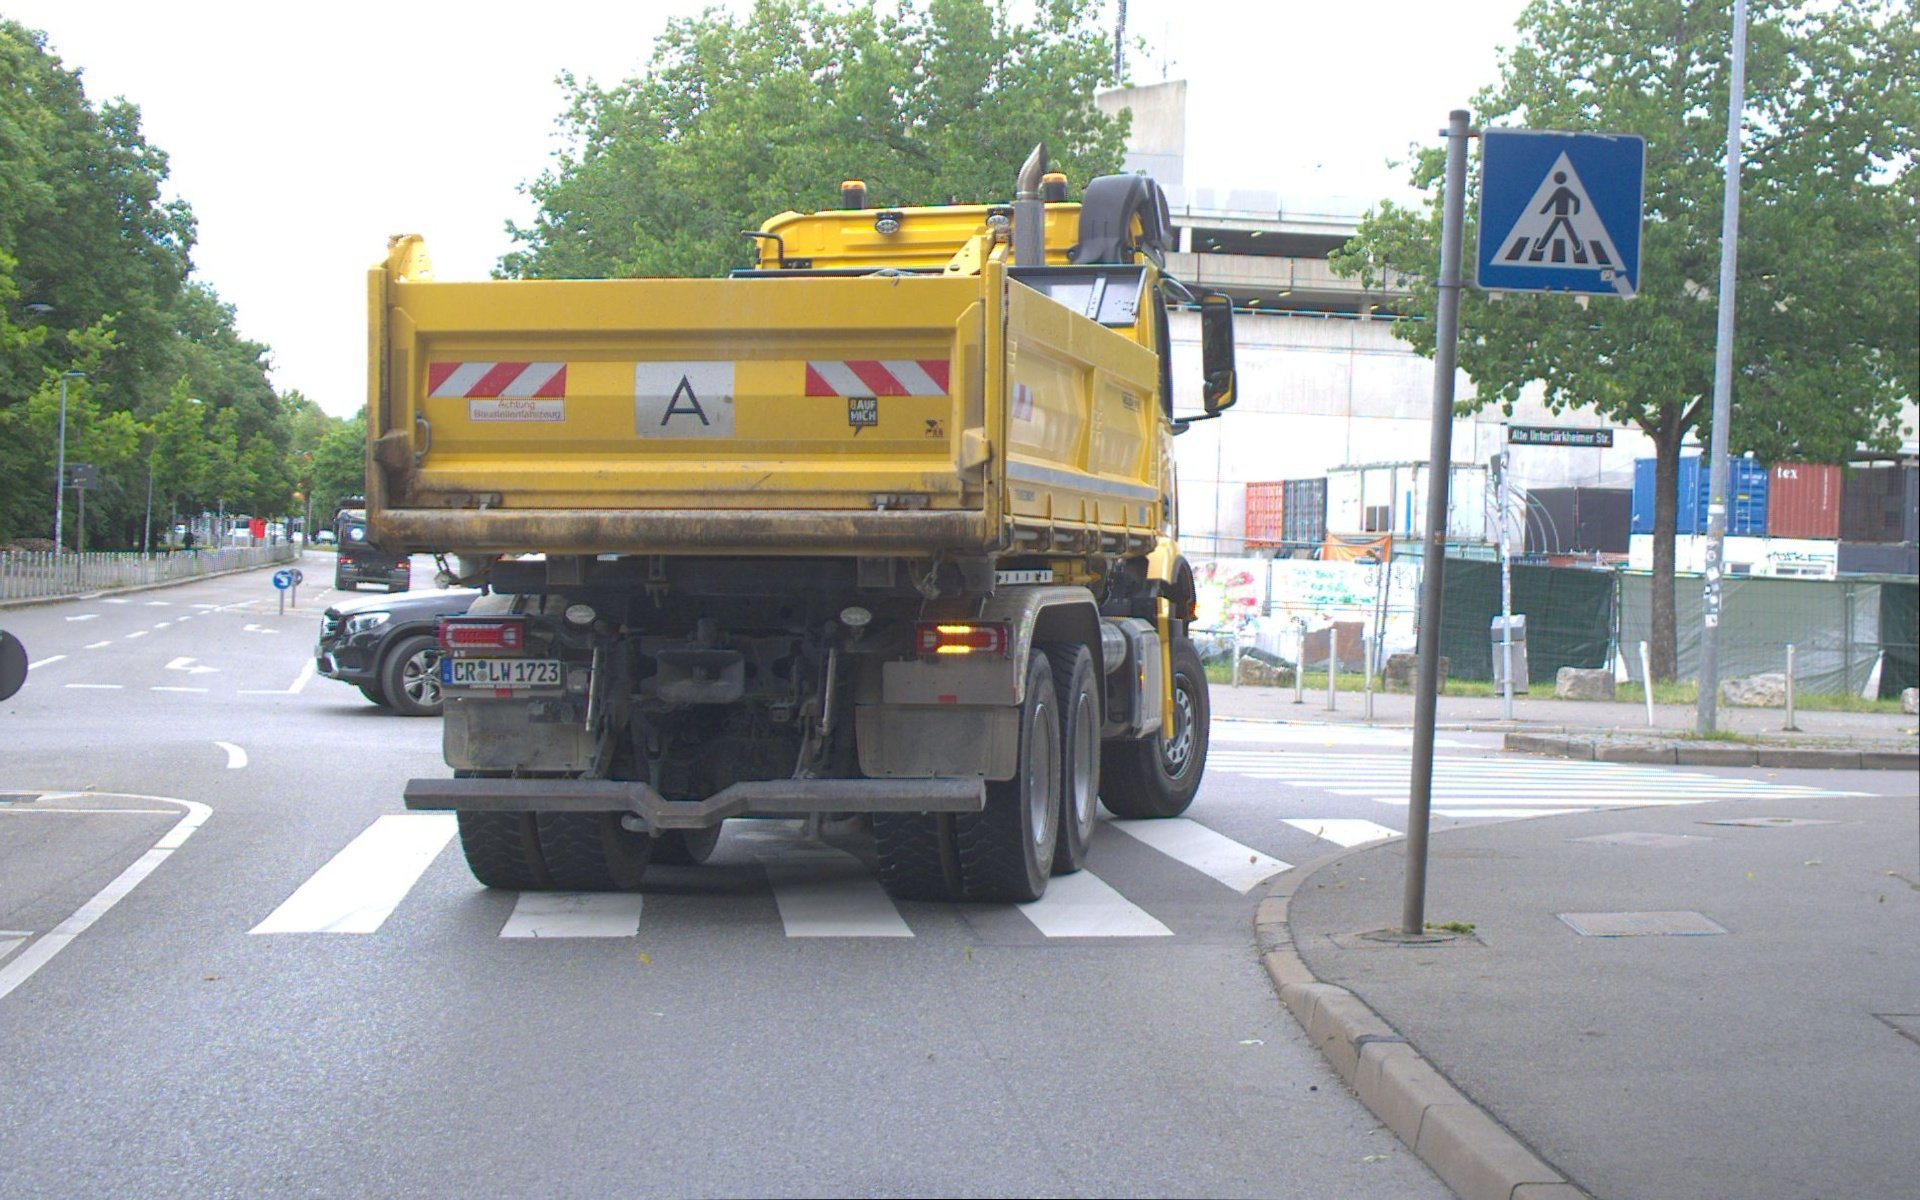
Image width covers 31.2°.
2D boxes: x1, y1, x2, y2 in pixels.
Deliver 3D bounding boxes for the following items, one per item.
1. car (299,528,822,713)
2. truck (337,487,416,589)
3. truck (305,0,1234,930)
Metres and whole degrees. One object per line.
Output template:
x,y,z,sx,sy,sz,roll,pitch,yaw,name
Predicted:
-3.723,0.187,31.866,4.533,1.569,1.846,1,1,-16,car
-20.971,-2.178,123.327,2.672,3.546,7.925,-1,0,-10,truck
-0.460,-0.616,17.095,2.759,3.686,7.876,0,0,11,truck
